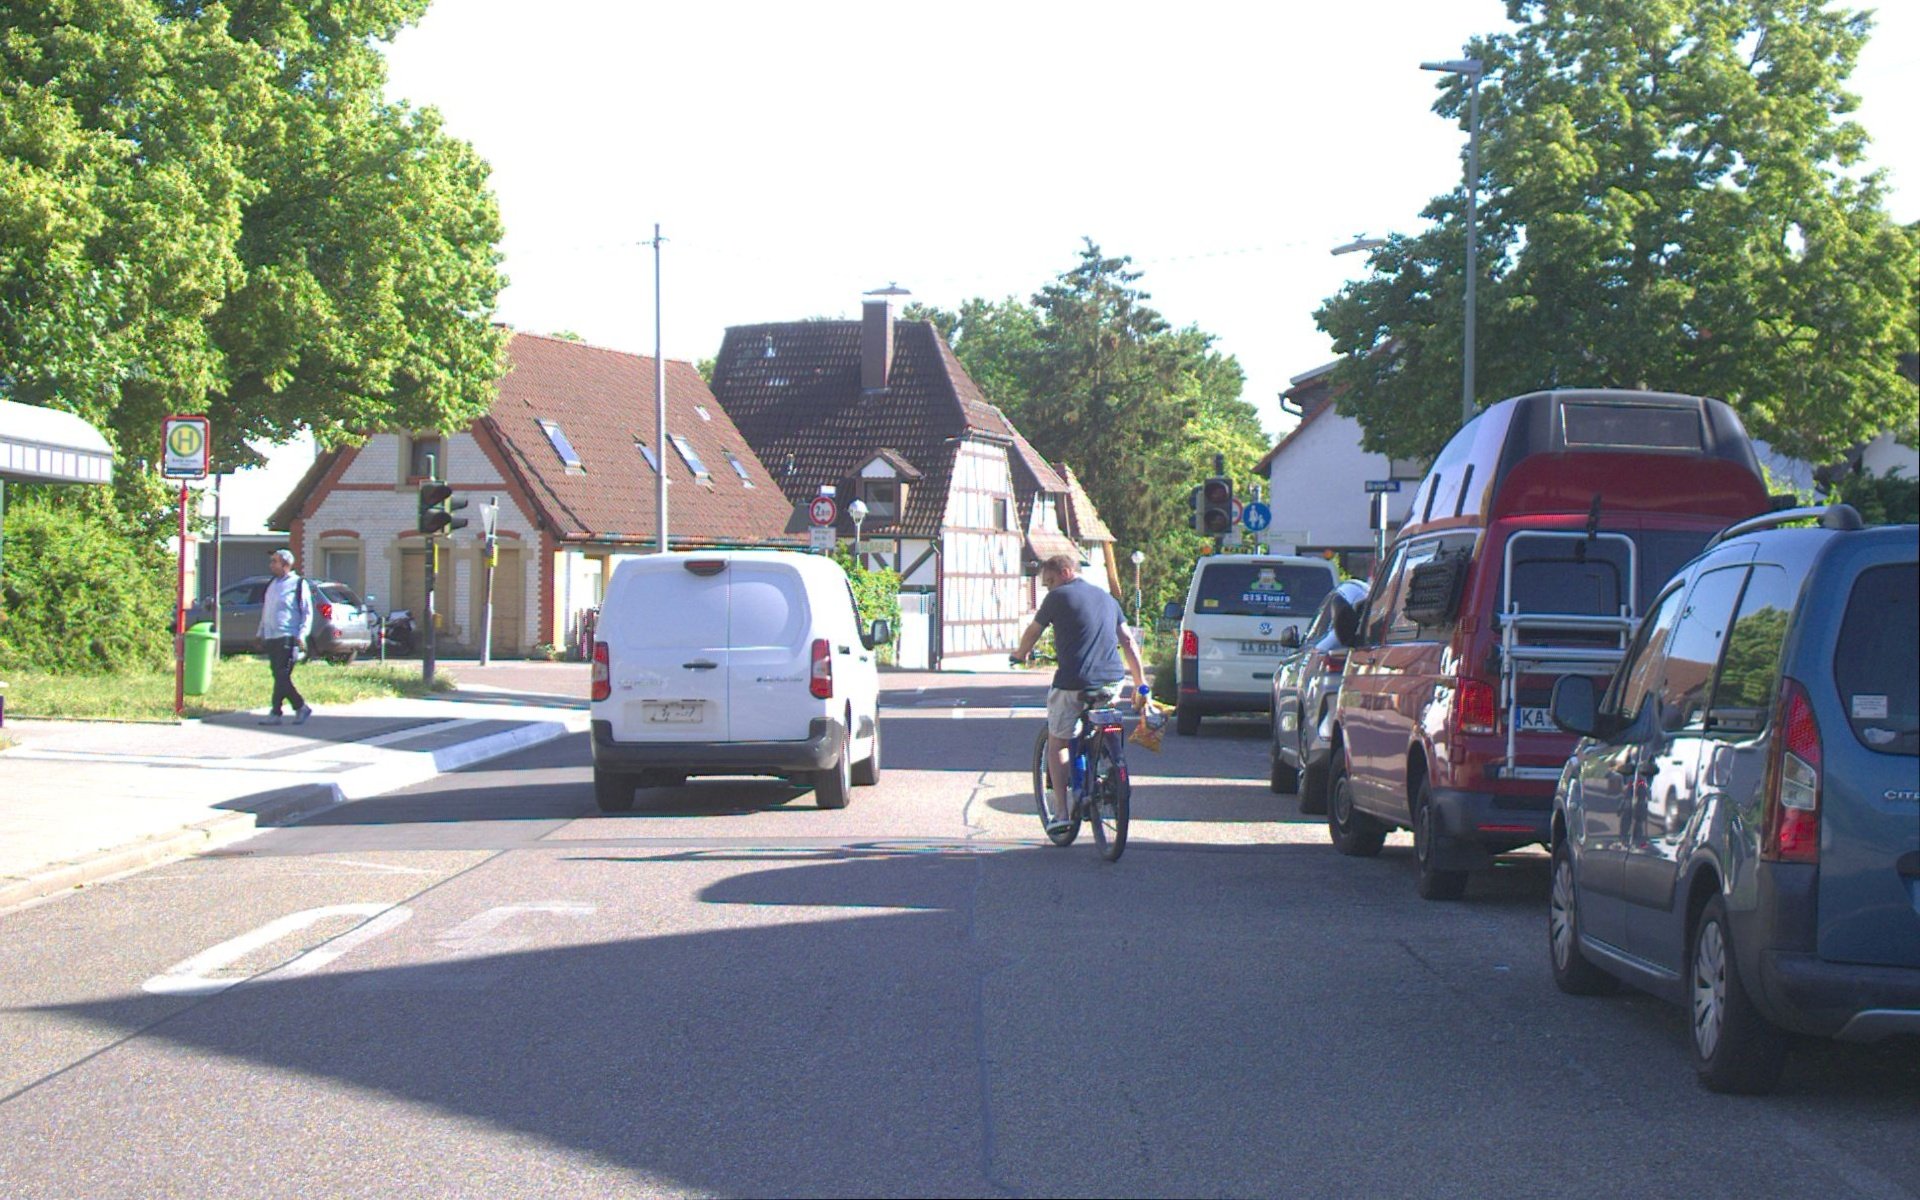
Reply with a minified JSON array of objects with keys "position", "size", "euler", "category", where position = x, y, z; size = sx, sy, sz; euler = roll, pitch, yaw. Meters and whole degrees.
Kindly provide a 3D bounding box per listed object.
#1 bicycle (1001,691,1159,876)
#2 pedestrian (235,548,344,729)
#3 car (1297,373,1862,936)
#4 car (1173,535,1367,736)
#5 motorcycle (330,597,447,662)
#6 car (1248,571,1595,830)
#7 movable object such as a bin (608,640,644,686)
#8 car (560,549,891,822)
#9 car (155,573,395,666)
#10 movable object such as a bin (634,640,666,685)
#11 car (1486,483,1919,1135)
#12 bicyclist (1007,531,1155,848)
[{"position":[0.674,1.039,20.053],"size":[0.774,0.937,2.291],"euler":[0,0,-2],"category":"bicycle"},{"position":[-6.869,0.393,35.193],"size":[0.768,1.796,0.718],"euler":[2,1,-40],"category":"pedestrian"},{"position":[3.215,0.244,19.019],"size":[1.957,2.635,5.223],"euler":[2,0,-2],"category":"car"},{"position":[3.450,0.385,38.531],"size":[1.994,2.072,4.577],"euler":[1,0,5],"category":"car"},{"position":[-11.877,0.603,71.445],"size":[2.244,1.291,0.882],"euler":[0,3,21],"category":"motorcycle"},{"position":[3.371,0.683,25.975],"size":[1.957,1.732,4.576],"euler":[2,0,0],"category":"car"},{"position":[-6.901,1.294,70.993],"size":[0.508,0.921,0.625],"euler":[1,0,20],"category":"movable object such as a bin"},{"position":[-1.644,0.547,25.702],"size":[1.957,1.842,4.560],"euler":[0,1,3],"category":"car"},{"position":[-13.531,0.375,67.977],"size":[4.224,1.719,1.943],"euler":[1,0,19],"category":"car"},{"position":[-6.386,1.278,70.815],"size":[0.412,0.903,0.625],"euler":[1,0,20],"category":"movable object such as a bin"},{"position":[3.165,0.610,12.114],"size":[1.857,1.842,4.560],"euler":[3,0,0],"category":"car"},{"position":[0.696,0.505,19.958],"size":[0.764,1.783,0.853],"euler":[1,0,-2],"category":"bicyclist"}]
